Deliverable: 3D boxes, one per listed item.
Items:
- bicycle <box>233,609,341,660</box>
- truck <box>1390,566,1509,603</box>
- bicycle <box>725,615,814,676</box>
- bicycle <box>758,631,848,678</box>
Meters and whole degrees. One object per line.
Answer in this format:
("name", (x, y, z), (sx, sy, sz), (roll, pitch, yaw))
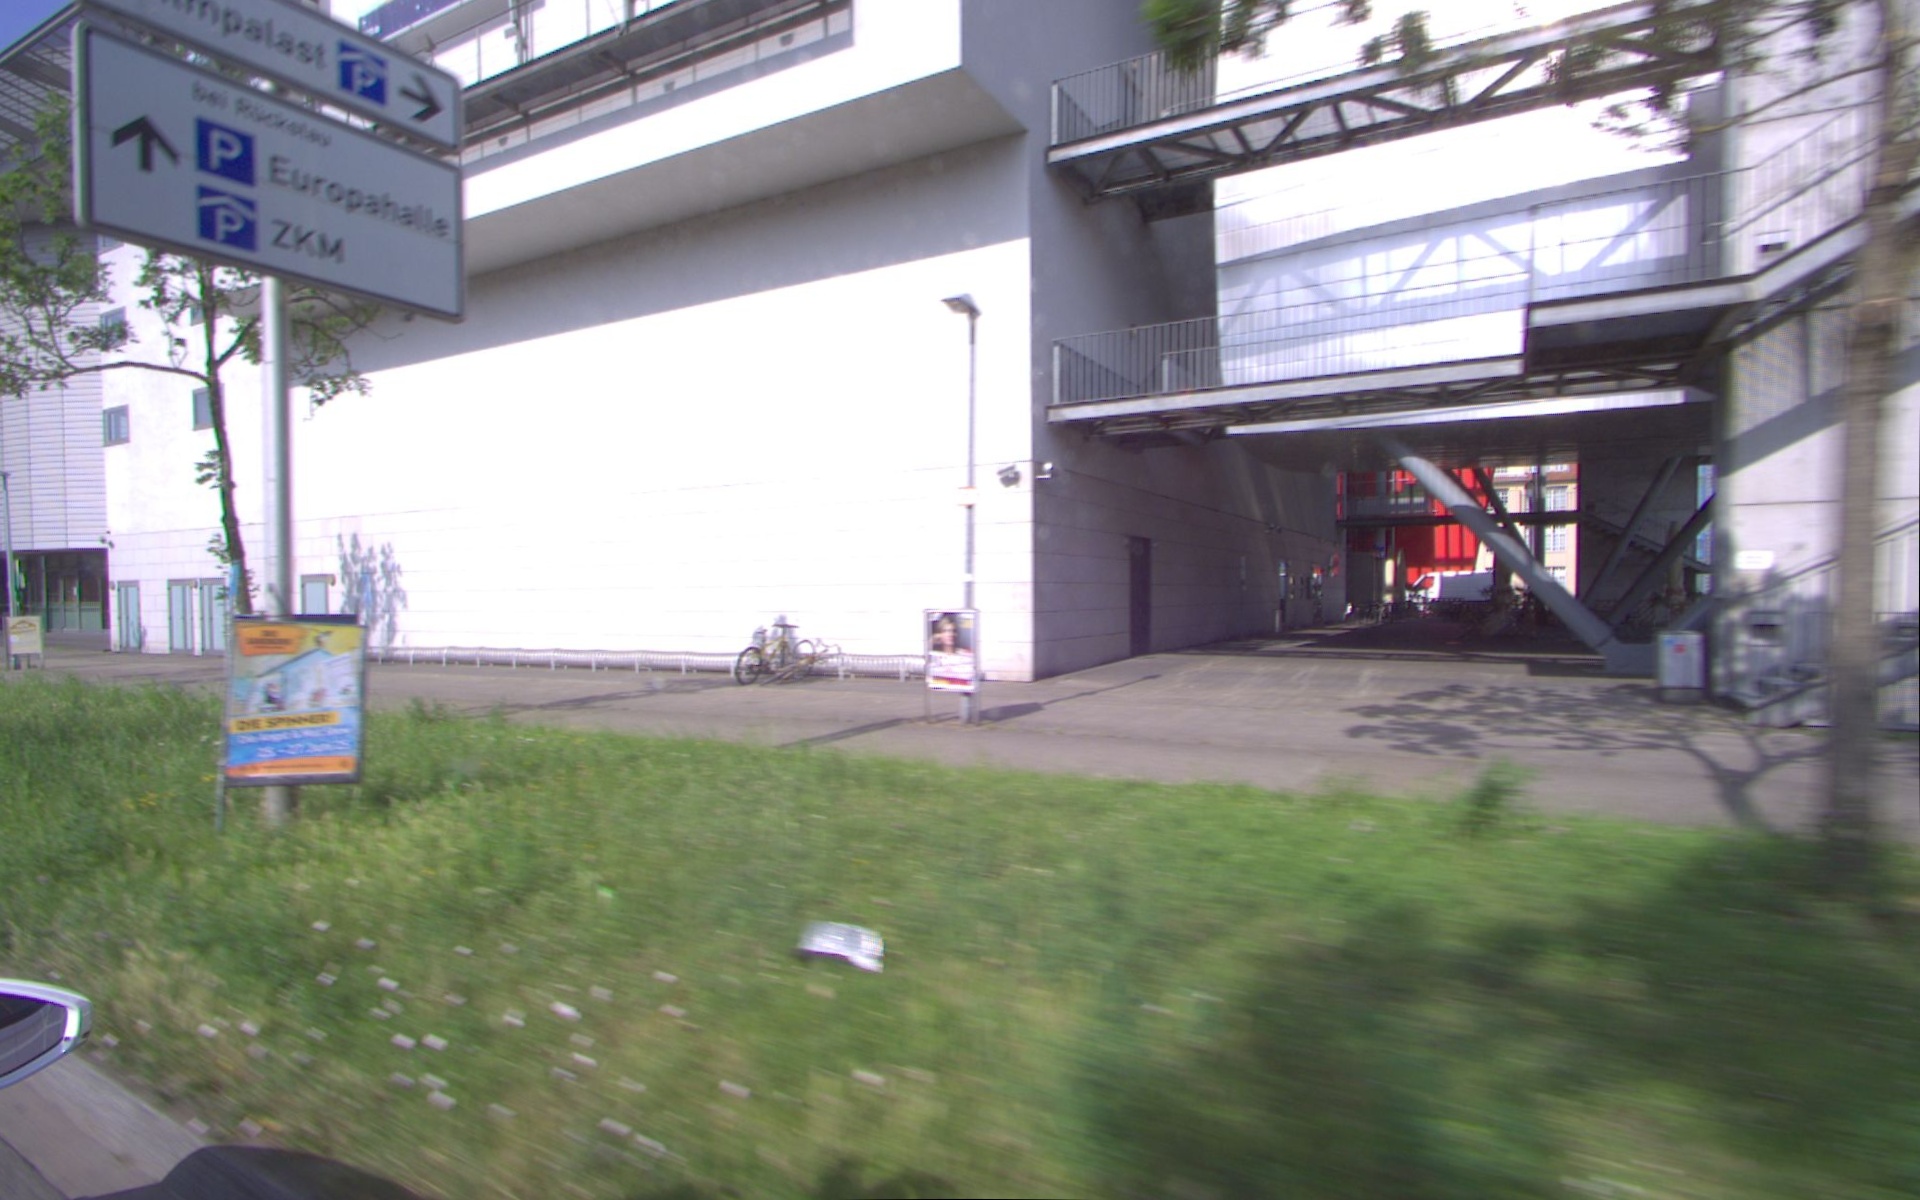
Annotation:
("bicycle", (-15.808, 0.785, 23.582), (0.666, 1.117, 2.003), (0, 0, 34))
("truck", (25.971, -0.809, 53.272), (5.605, 1.877, 1.992), (0, 1, 27))
("bicycle", (-3.131, 0.735, 16.609), (0.475, 0.927, 1.654), (0, 1, 30))
("bicycle", (-2.533, 0.864, 16.290), (0.530, 0.653, 1.654), (0, 1, 30))
